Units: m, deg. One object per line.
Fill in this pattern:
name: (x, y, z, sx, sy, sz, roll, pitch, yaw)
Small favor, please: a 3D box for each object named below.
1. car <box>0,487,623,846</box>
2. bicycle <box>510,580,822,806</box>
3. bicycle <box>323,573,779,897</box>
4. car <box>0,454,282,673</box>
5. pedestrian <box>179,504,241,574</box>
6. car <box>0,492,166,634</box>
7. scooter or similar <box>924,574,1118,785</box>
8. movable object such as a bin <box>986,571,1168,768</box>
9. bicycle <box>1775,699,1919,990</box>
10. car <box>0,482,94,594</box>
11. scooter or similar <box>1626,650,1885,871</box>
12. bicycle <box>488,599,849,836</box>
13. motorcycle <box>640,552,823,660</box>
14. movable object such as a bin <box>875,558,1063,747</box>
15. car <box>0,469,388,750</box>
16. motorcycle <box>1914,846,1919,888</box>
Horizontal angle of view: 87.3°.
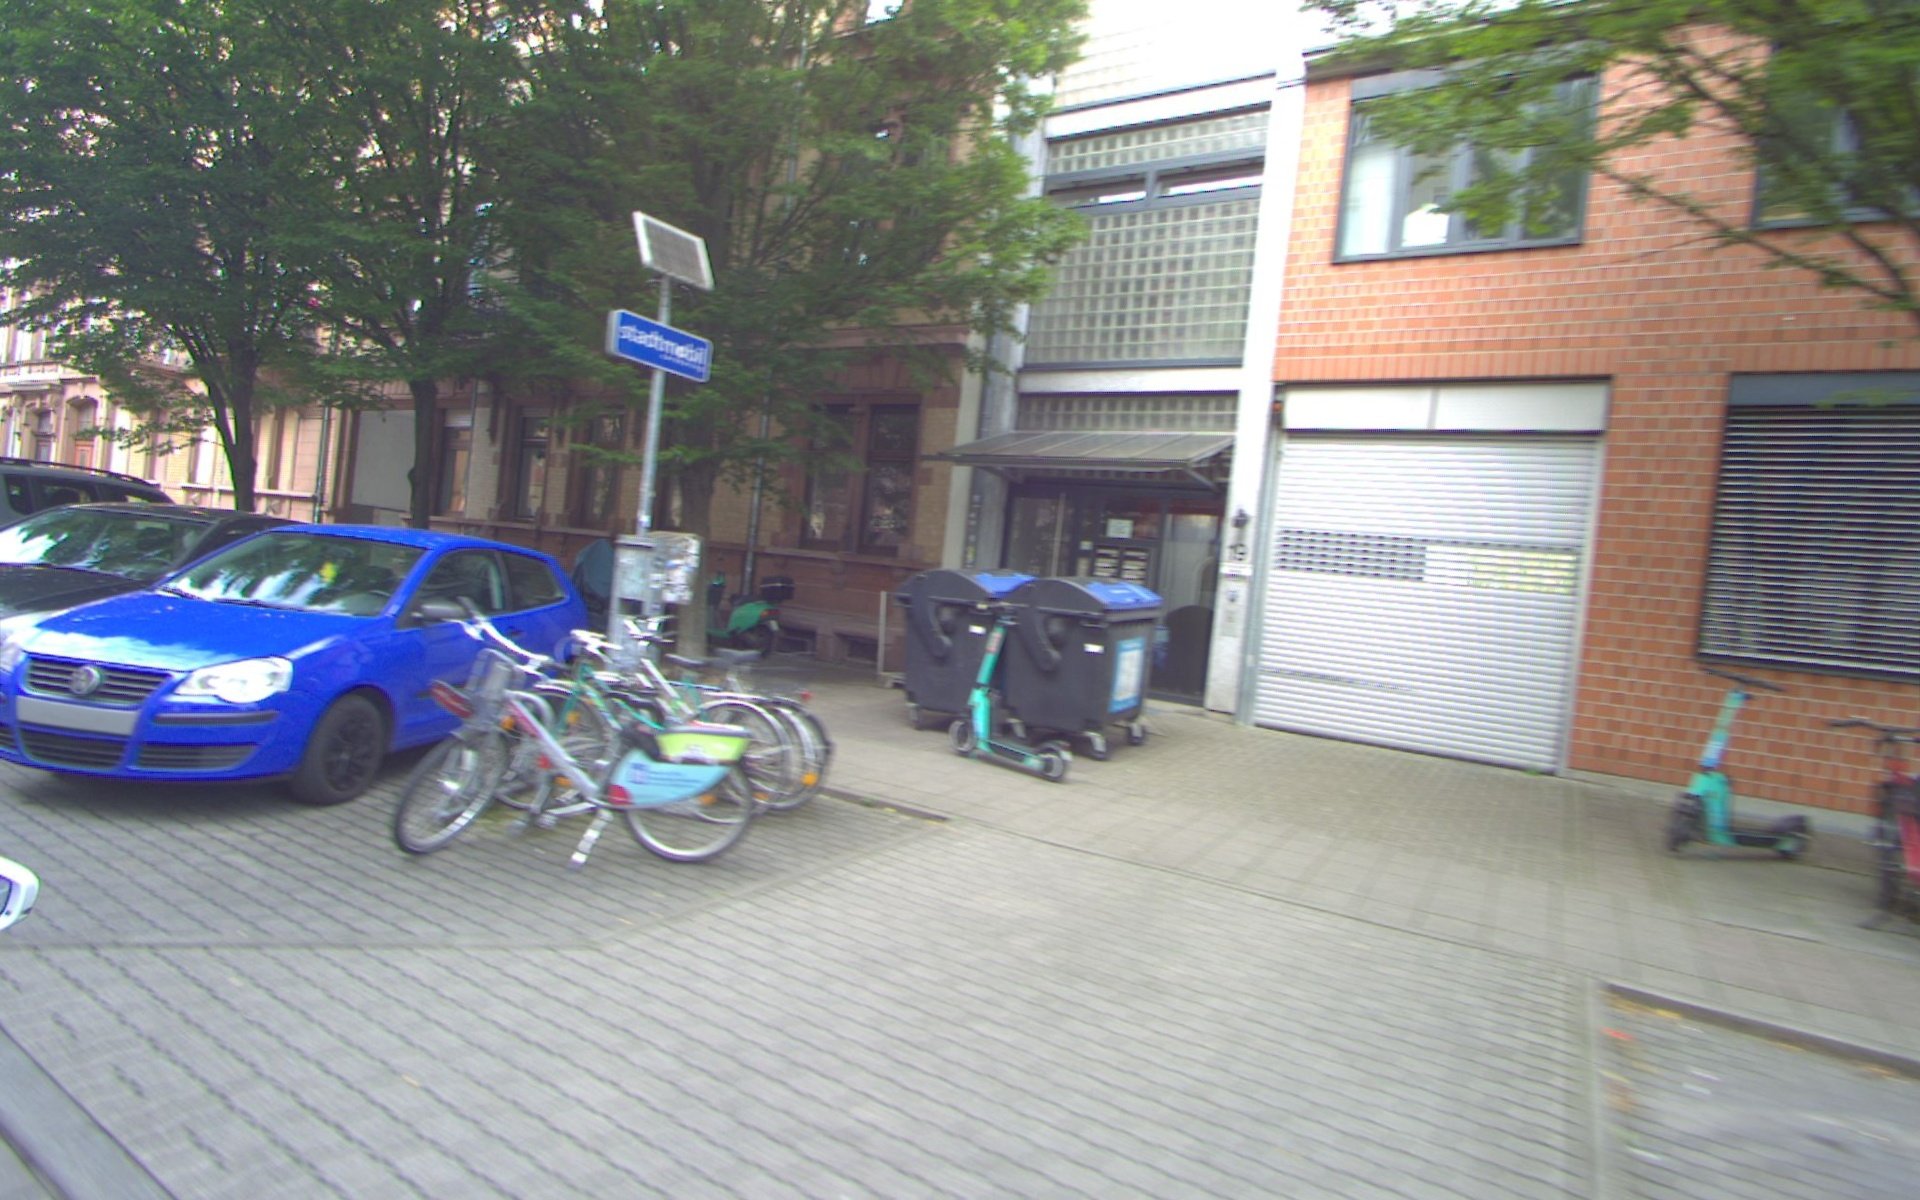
car: (-3.877, 0.232, 6.451, 1.692, 1.457, 3.998, 6, 2, 5)
bicycle: (-1.773, 0.578, 6.220, 1.690, 1.227, 0.468, 6, 0, -15)
bicycle: (-1.779, 0.600, 4.639, 1.719, 1.227, 0.701, 6, 0, -8)
car: (-8.457, -0.409, 9.192, 1.819, 1.720, 3.996, 7, 1, -3)
pedestrian: (-15.146, -1.217, 20.336, 0.707, 1.295, 0.570, 6, 0, -7)
car: (-10.945, -0.479, 10.664, 1.835, 1.435, 4.134, 7, 0, -4)
scooter or similar: (0.432, 0.566, 7.595, 0.521, 1.397, 1.305, 7, 0, -44)
movable object such as a bin: (1.039, 0.523, 8.712, 1.020, 1.467, 1.370, 7, 6, 29)
bicycle: (5.042, 1.218, 5.273, 0.806, 1.111, 2.019, 7, 4, 31)
car: (-13.649, -0.887, 12.482, 1.759, 1.471, 4.607, 6, 2, 0)
scooter or similar: (5.259, 1.062, 6.676, 1.299, 1.333, 0.523, 4, 4, -14)
bicycle: (-1.551, 0.648, 5.524, 1.758, 1.167, 0.448, 5, 1, -15)
motorcycle: (-3.224, 0.066, 14.069, 2.449, 1.201, 0.895, 7, 0, 31)
movable object such as a bin: (0.105, 0.410, 9.291, 1.144, 1.482, 1.369, 7, 8, 29)
car: (-6.272, -0.011, 7.483, 1.812, 1.539, 4.124, 6, -1, -5)
motorcycle: (6.009, 1.240, 5.322, 0.813, 1.244, 1.979, 7, 4, 30)
